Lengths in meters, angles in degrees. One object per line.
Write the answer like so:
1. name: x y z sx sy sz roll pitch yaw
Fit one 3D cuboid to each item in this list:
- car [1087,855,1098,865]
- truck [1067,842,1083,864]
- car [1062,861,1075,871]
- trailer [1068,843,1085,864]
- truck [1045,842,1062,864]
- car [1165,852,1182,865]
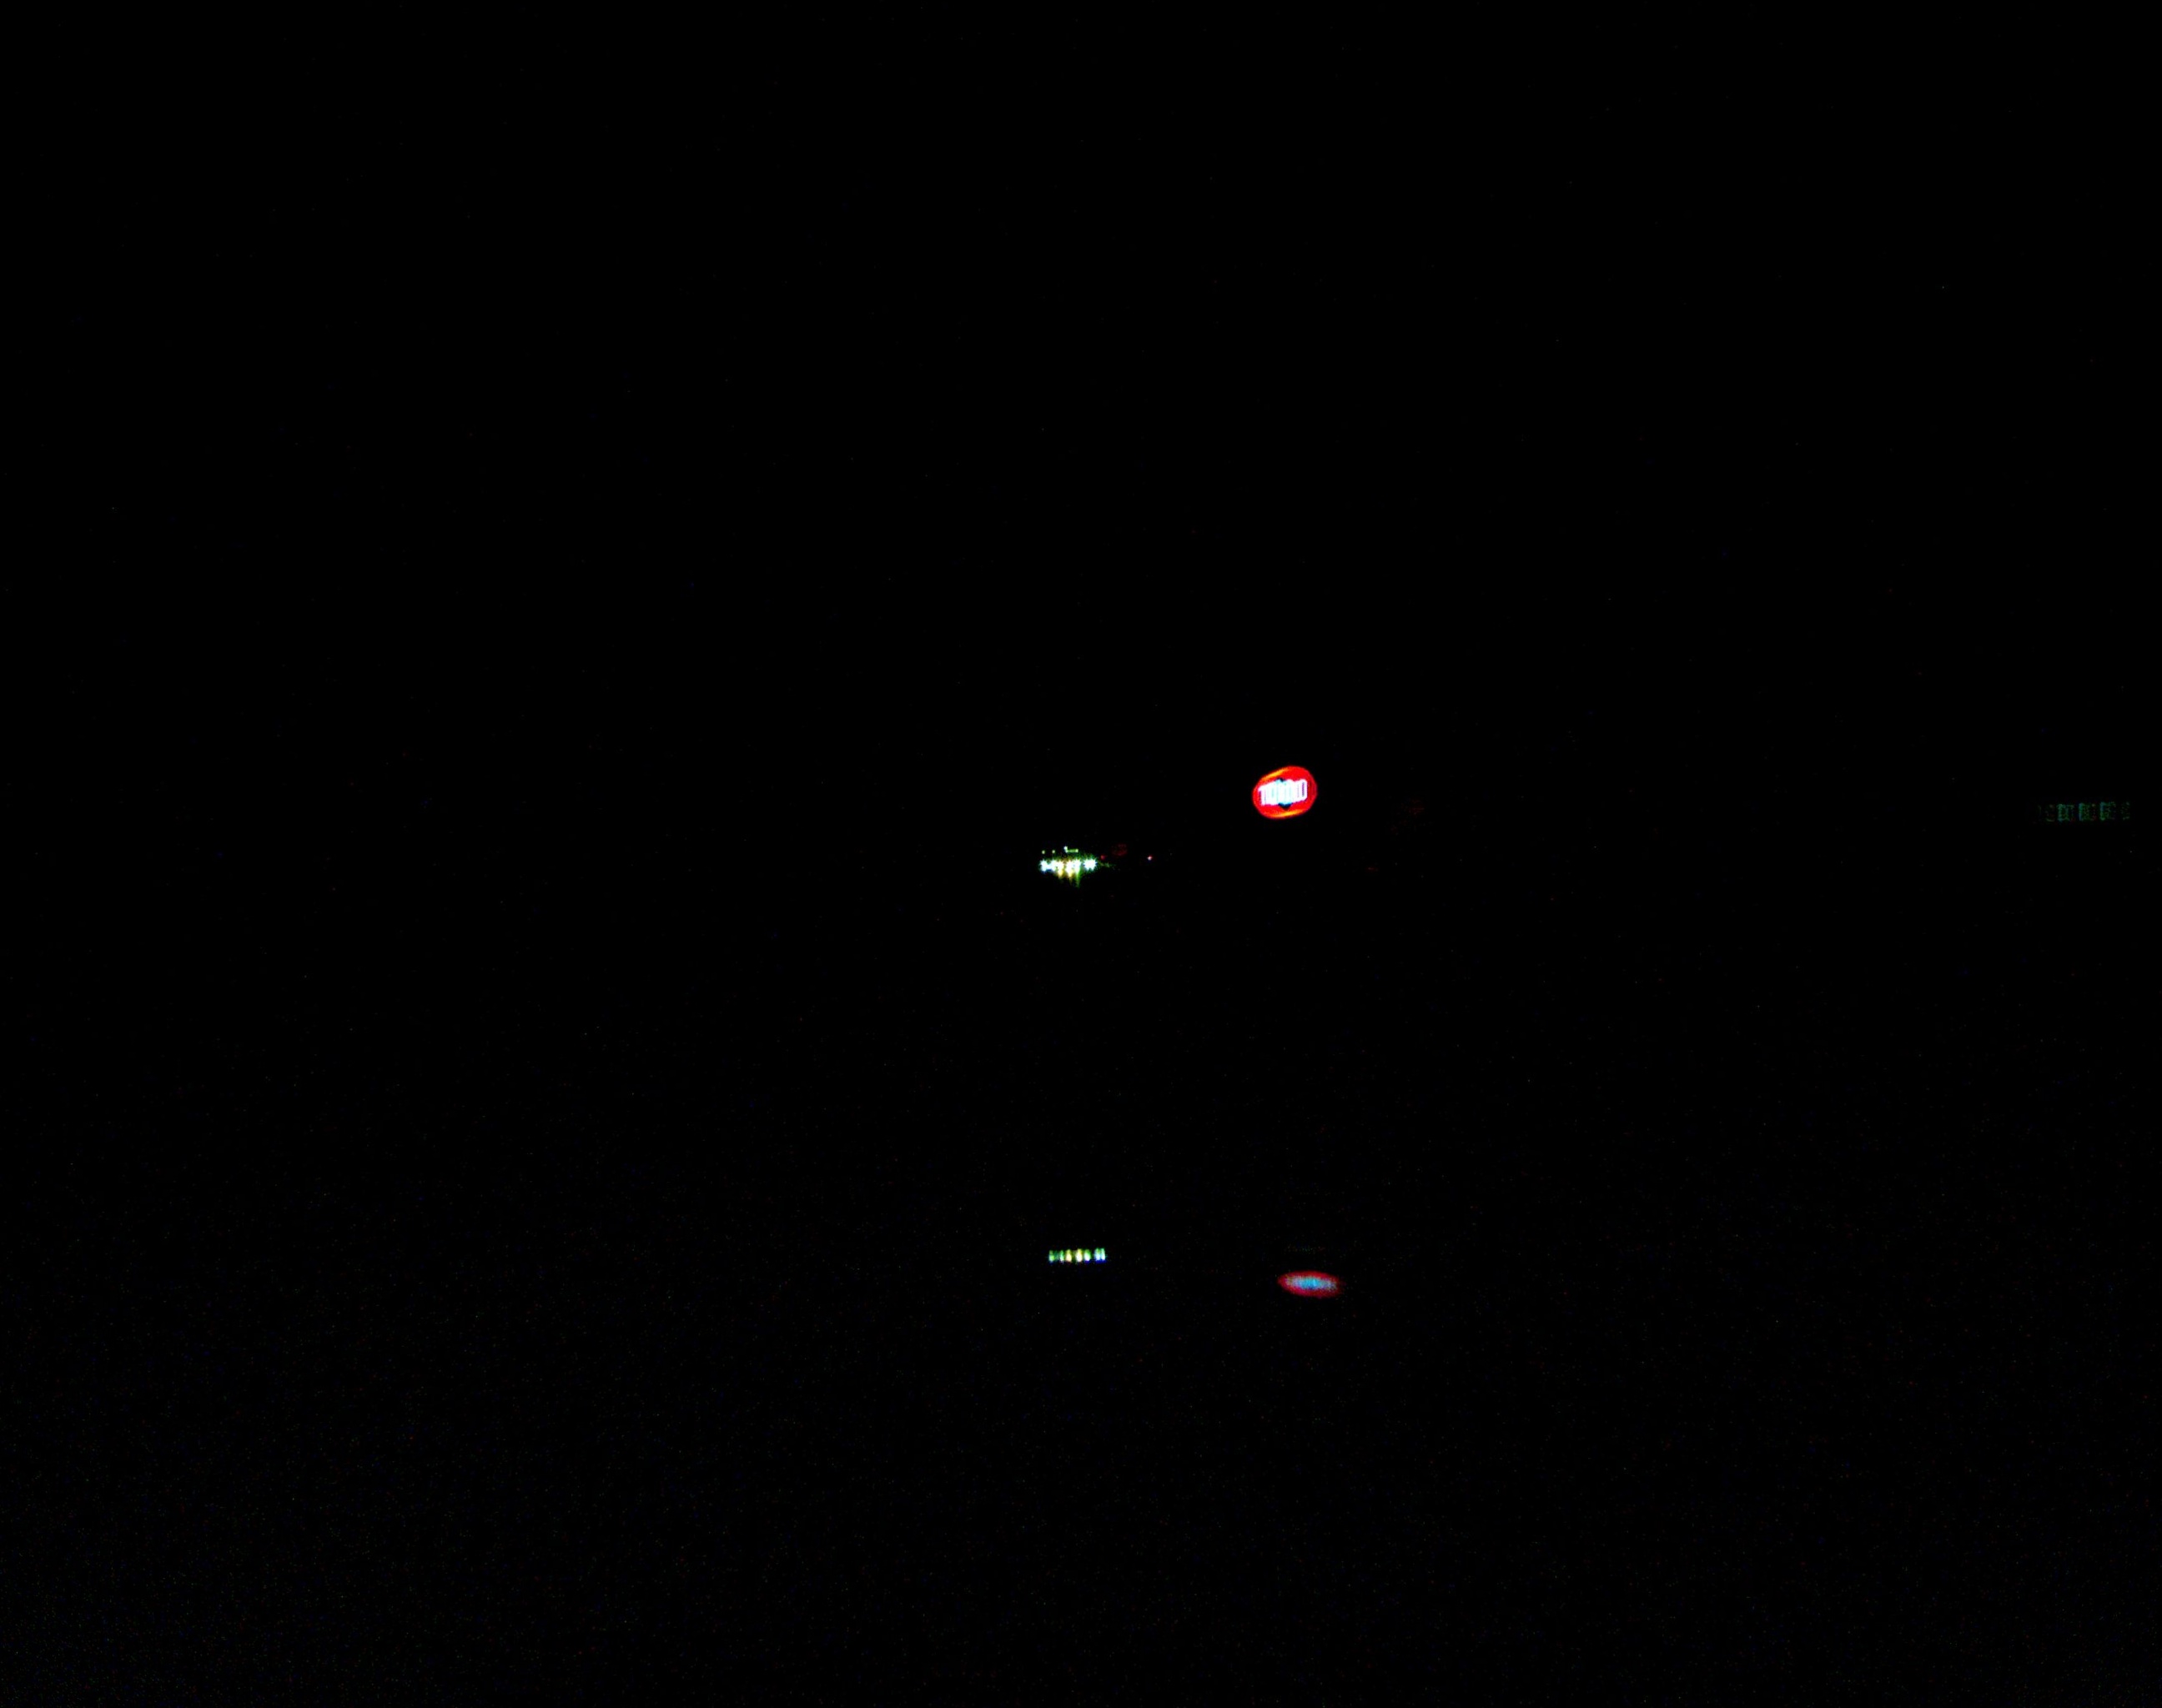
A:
1. car: 3.532 1.855 227.708 2.859 2.795 5.942 -3 -1 2
2. truck: -1.160 -0.110 151.935 2.668 4.181 6.725 -3 -1 2
3. car: -1.769 1.667 107.856 1.701 1.379 3.502 -3 -1 1
4. trailer: -0.865 0.006 158.567 2.749 4.181 13.515 -3 -1 2
5. truck: -5.469 -0.087 151.017 2.597 4.048 7.676 -3 -1 2
6. car: 13.633 0.712 112.144 1.913 1.911 5.458 0 -1 -1
